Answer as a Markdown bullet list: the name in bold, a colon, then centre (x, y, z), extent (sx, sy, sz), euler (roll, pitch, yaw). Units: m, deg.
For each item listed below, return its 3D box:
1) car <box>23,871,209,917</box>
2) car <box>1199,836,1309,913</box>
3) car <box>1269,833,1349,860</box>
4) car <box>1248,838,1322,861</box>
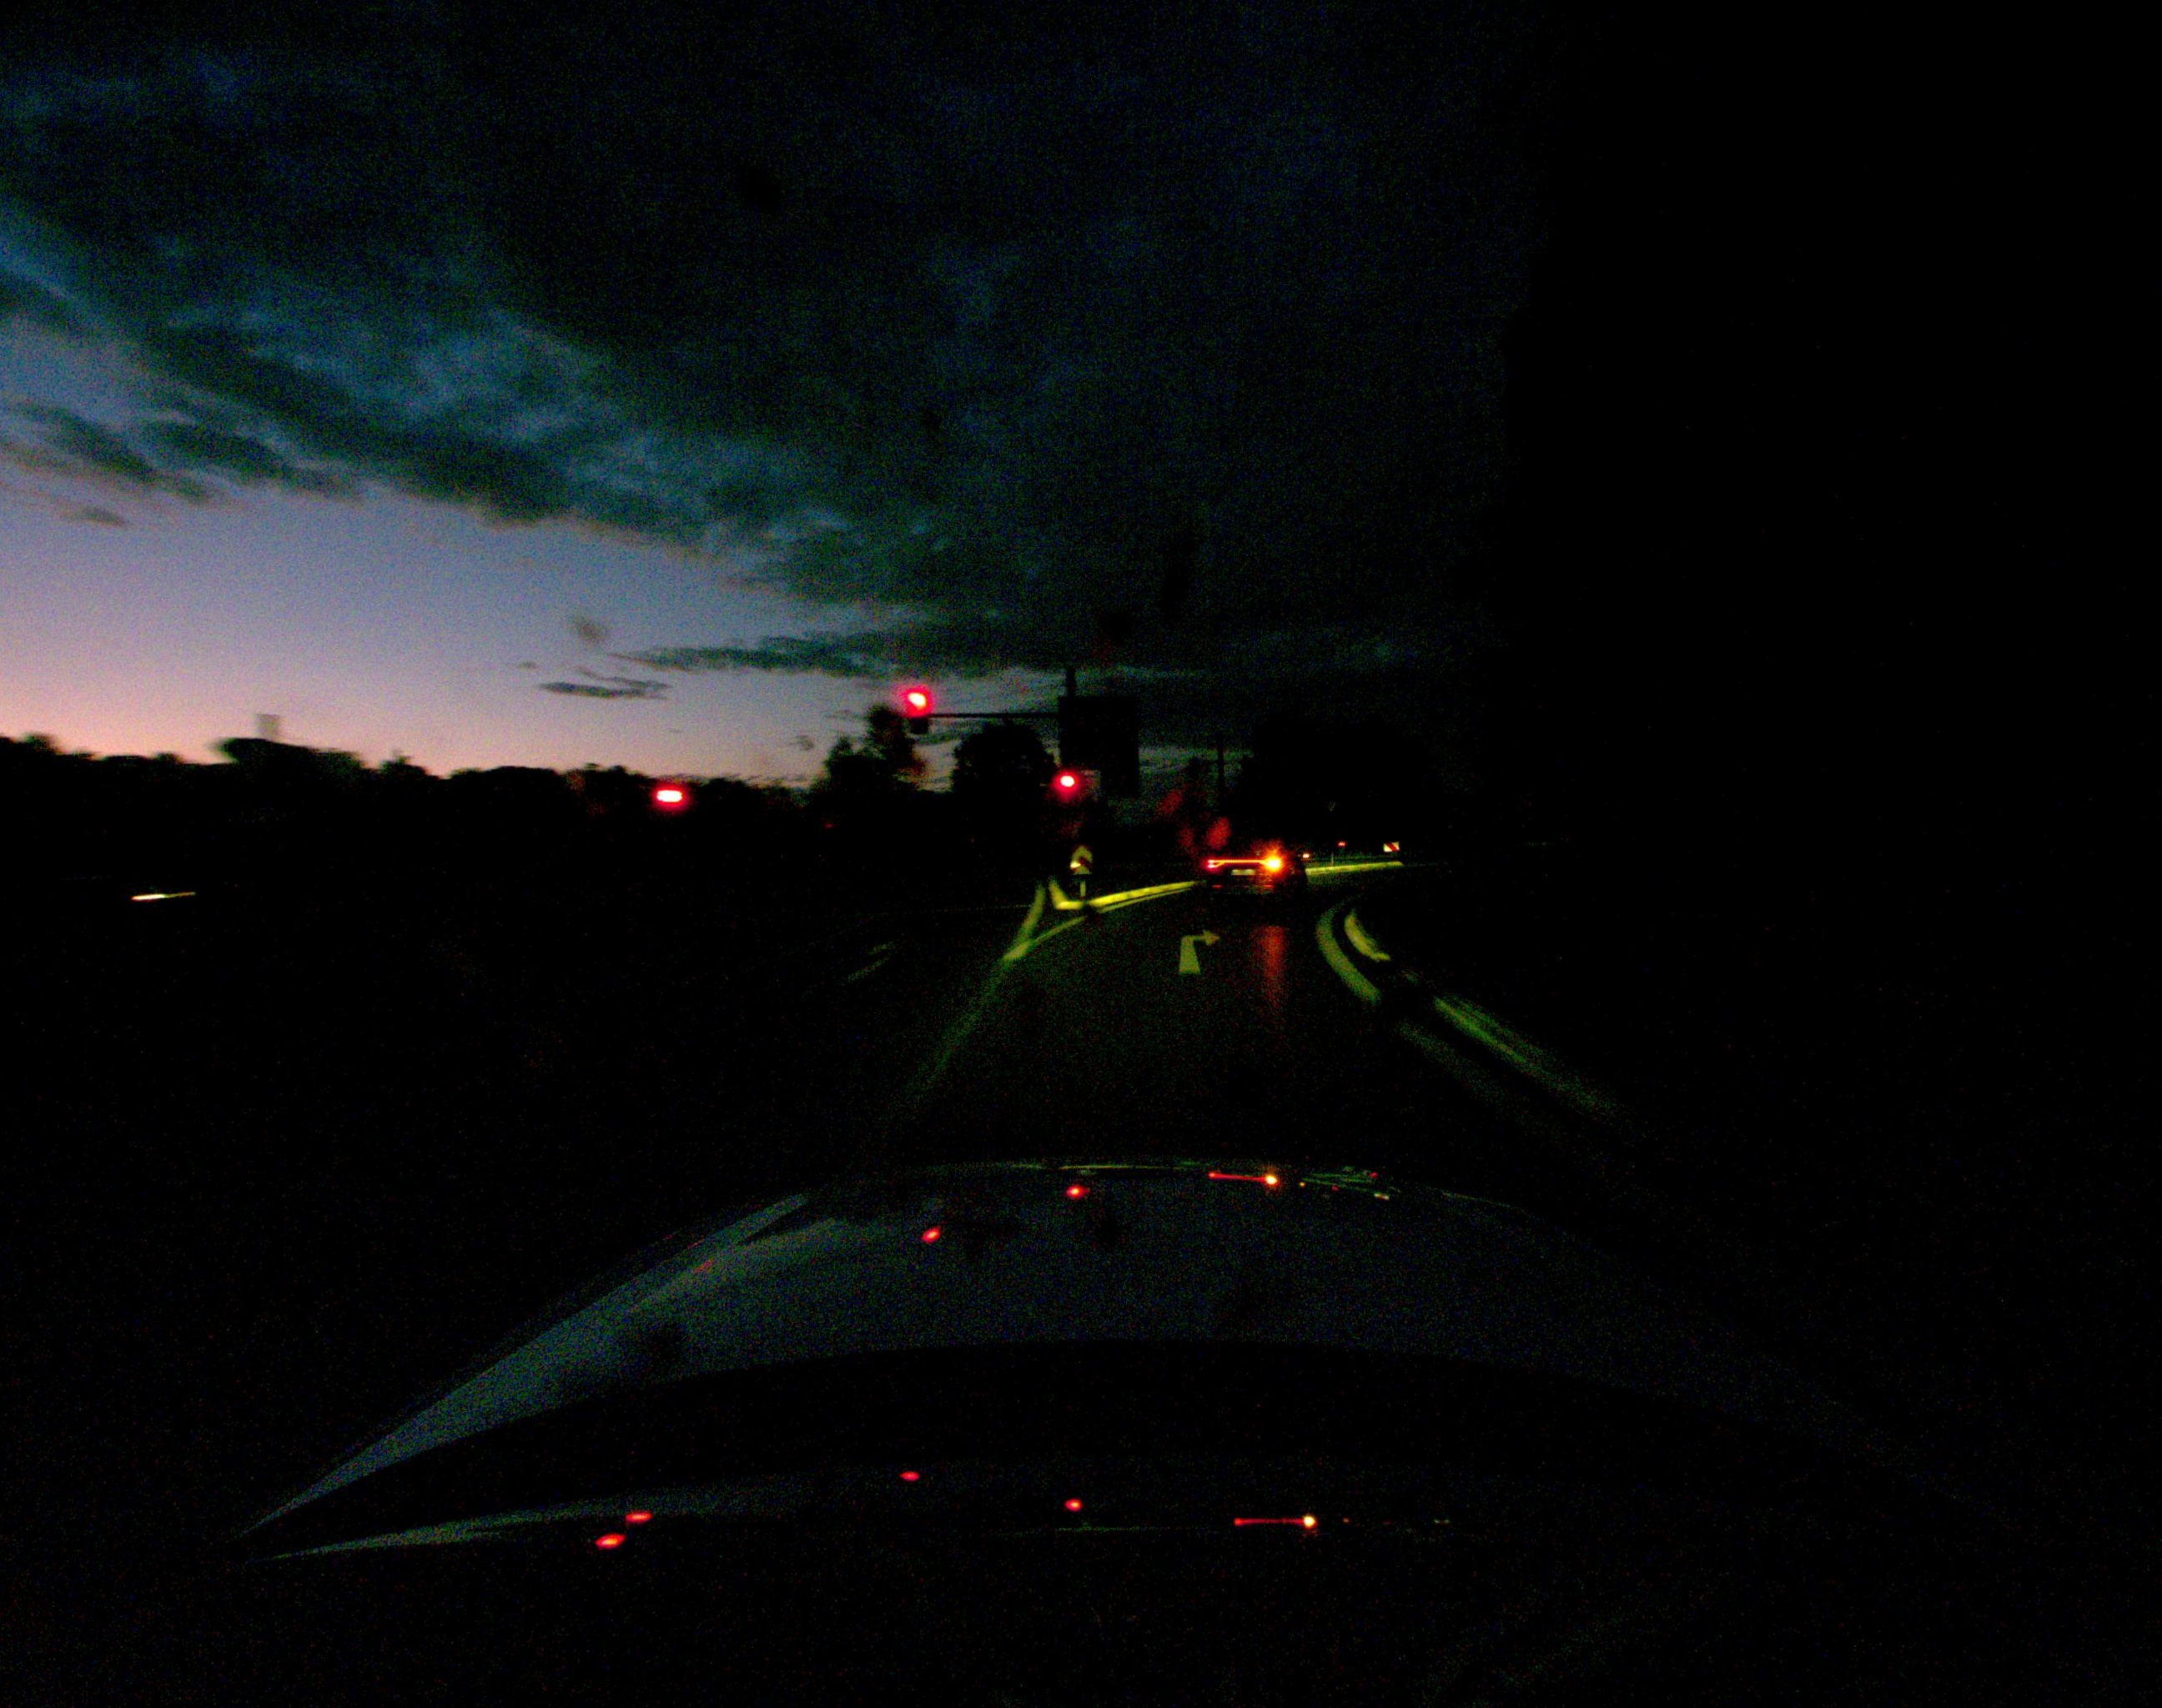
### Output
- **car**: centre (-35.992, 1.470, 30.520), extent (3.995, 1.453, 1.989), euler (-2, -1, -16)
- **car**: centre (4.290, 0.393, 19.629), extent (1.885, 1.619, 4.580), euler (0, 1, 21)
- **car**: centre (15.245, -0.496, 54.533), extent (4.867, 1.682, 1.989), euler (-1, 0, -16)
- **car**: centre (14.494, -0.318, 57.957), extent (4.727, 1.453, 1.990), euler (-3, 0, -15)
